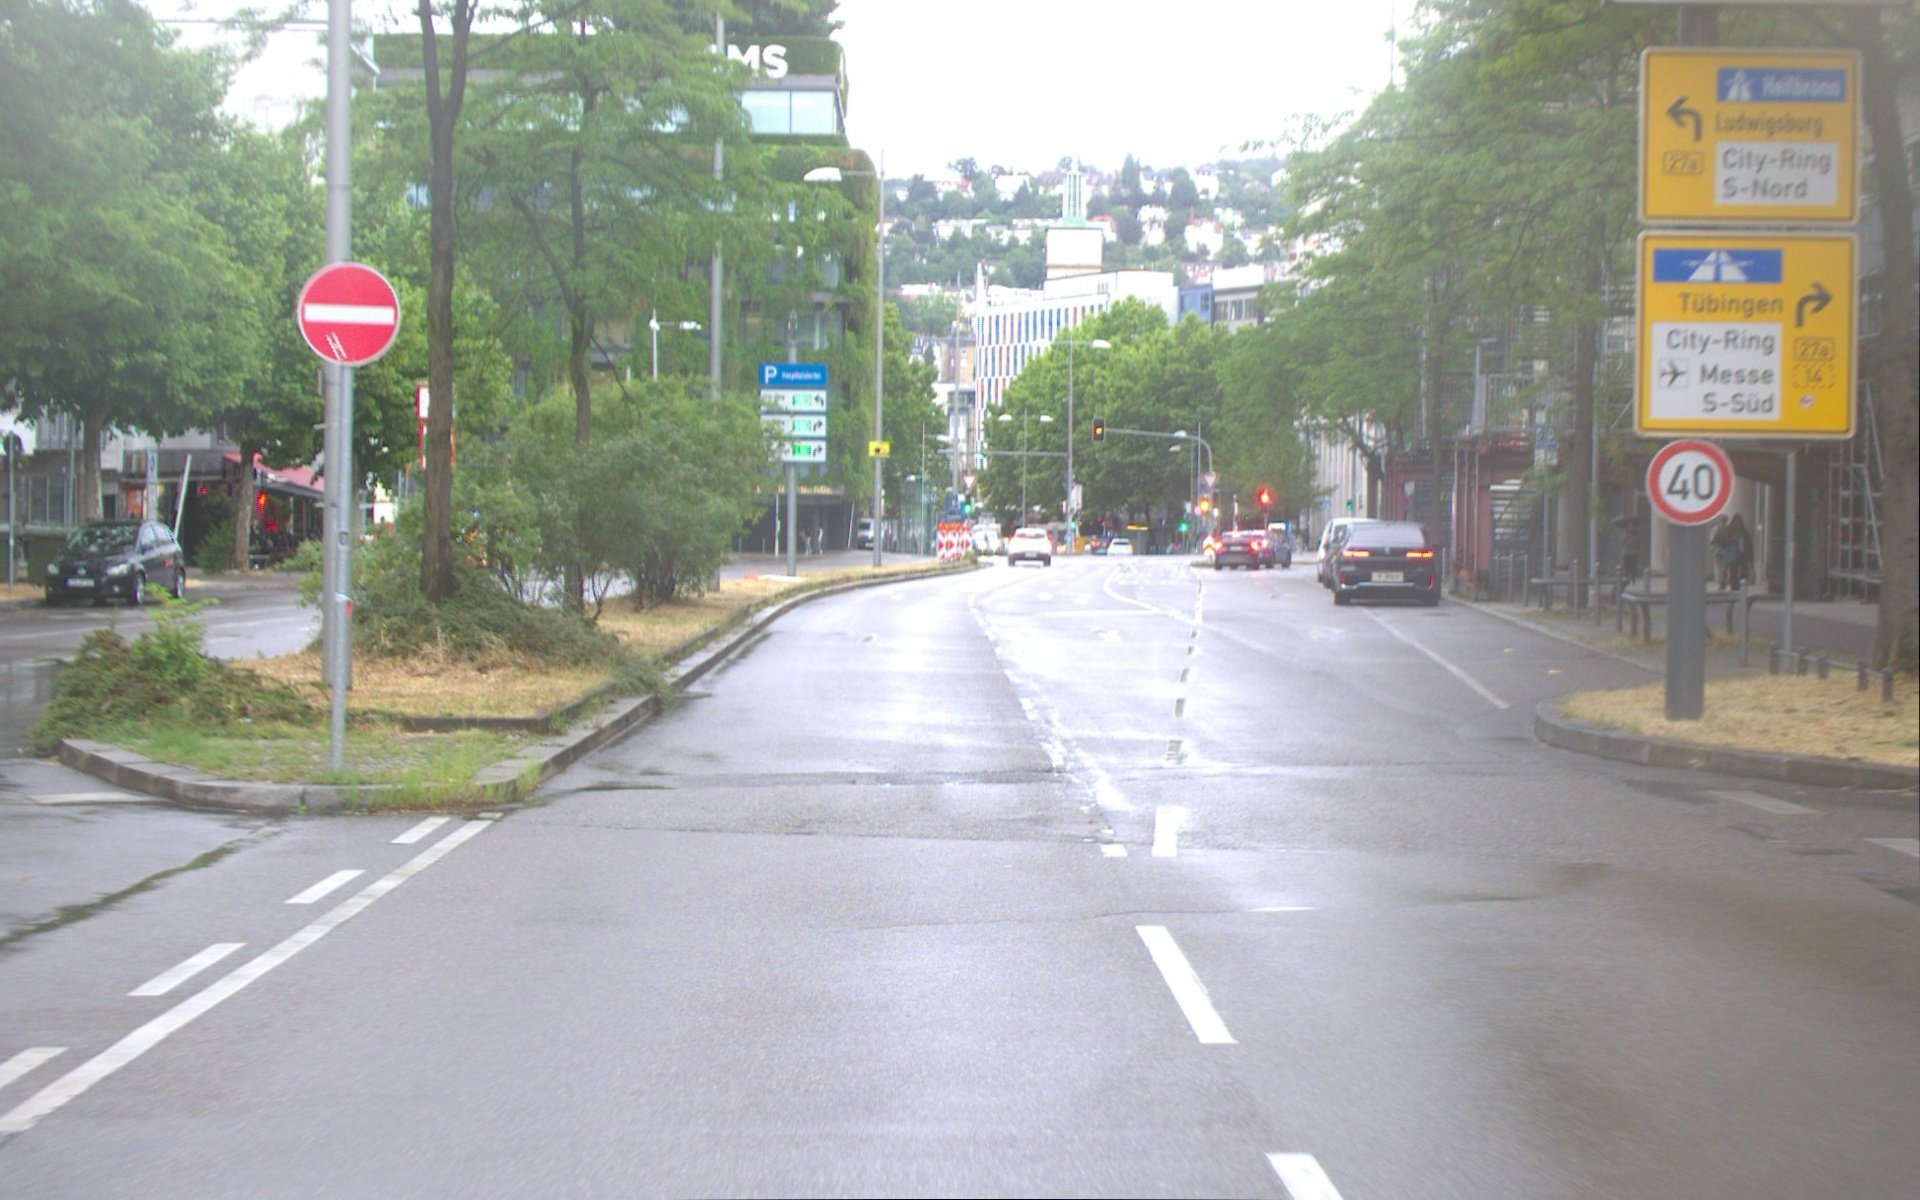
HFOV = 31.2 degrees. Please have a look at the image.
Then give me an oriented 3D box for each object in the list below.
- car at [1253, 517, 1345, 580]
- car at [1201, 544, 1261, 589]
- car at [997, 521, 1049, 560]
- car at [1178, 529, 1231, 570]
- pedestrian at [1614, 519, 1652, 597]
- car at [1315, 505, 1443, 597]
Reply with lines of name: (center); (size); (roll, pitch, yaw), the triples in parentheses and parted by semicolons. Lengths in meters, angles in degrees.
car: (8.258, -1.264, 84.023); (1.844, 1.487, 4.000); (0, 1, 0)
car: (10.835, -1.329, 137.561); (1.993, 1.718, 4.000); (0, 0, -1)
car: (2.785, -2.656, 153.412); (1.828, 1.634, 4.301); (2, 0, -5)
car: (10.569, -2.174, 148.751); (1.993, 1.730, 4.000); (0, 0, -1)
pedestrian: (16.520, -1.026, 84.420); (0.775, 1.914, 0.702); (0, 0, -1)
car: (7.945, -0.936, 65.353); (2.339, 1.685, 3.999); (0, 1, 6)
